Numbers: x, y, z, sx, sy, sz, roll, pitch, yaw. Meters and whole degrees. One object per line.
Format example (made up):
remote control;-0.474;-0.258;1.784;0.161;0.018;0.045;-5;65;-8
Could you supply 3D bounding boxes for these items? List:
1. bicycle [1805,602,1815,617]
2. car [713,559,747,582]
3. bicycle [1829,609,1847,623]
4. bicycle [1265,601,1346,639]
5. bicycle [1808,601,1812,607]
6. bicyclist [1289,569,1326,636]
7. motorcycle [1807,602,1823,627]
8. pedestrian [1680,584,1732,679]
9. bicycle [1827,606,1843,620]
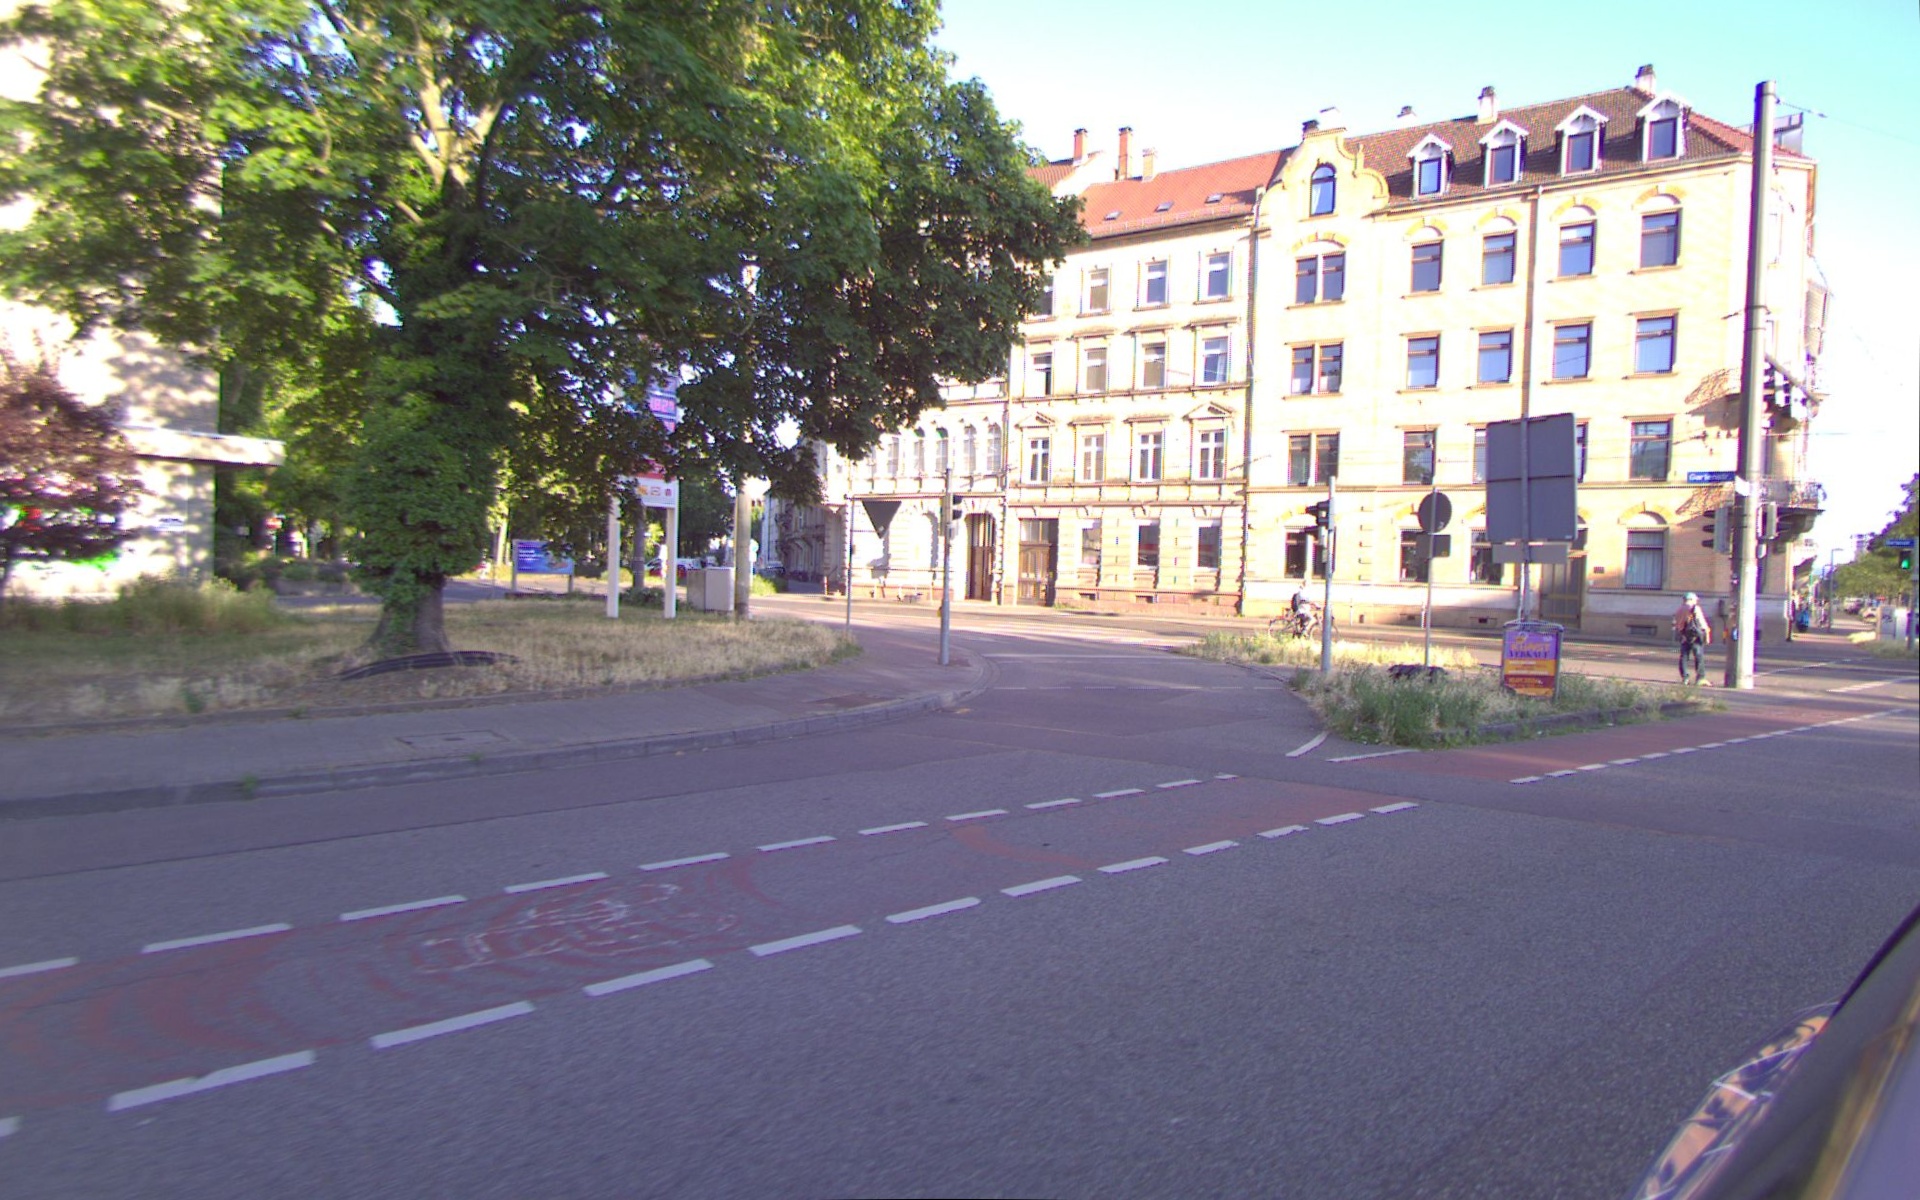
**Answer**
bicycle;73.047;0.817;86.999;0.483;1.178;1.720;9;6;40
car;-17.167;-2.199;75.766;1.788;1.638;4.003;2;2;-3
bicycle;63.065;1.122;72.679;0.872;0.927;2.052;5;3;42
bicycle;8.548;0.480;25.052;1.802;0.839;0.615;3;2;33
bicycle;134.130;0.674;159.721;0.418;0.973;1.200;2;1;40
bicyclist;8.587;0.057;25.028;0.691;1.603;0.630;2;1;32
motorcycle;43.535;0.715;51.550;0.553;1.229;2.043;1;1;39
pedestrian;13.367;0.554;18.135;0.687;1.649;0.553;1;1;-40
bicycle;64.603;0.985;74.683;0.734;0.959;2.302;4;3;44
